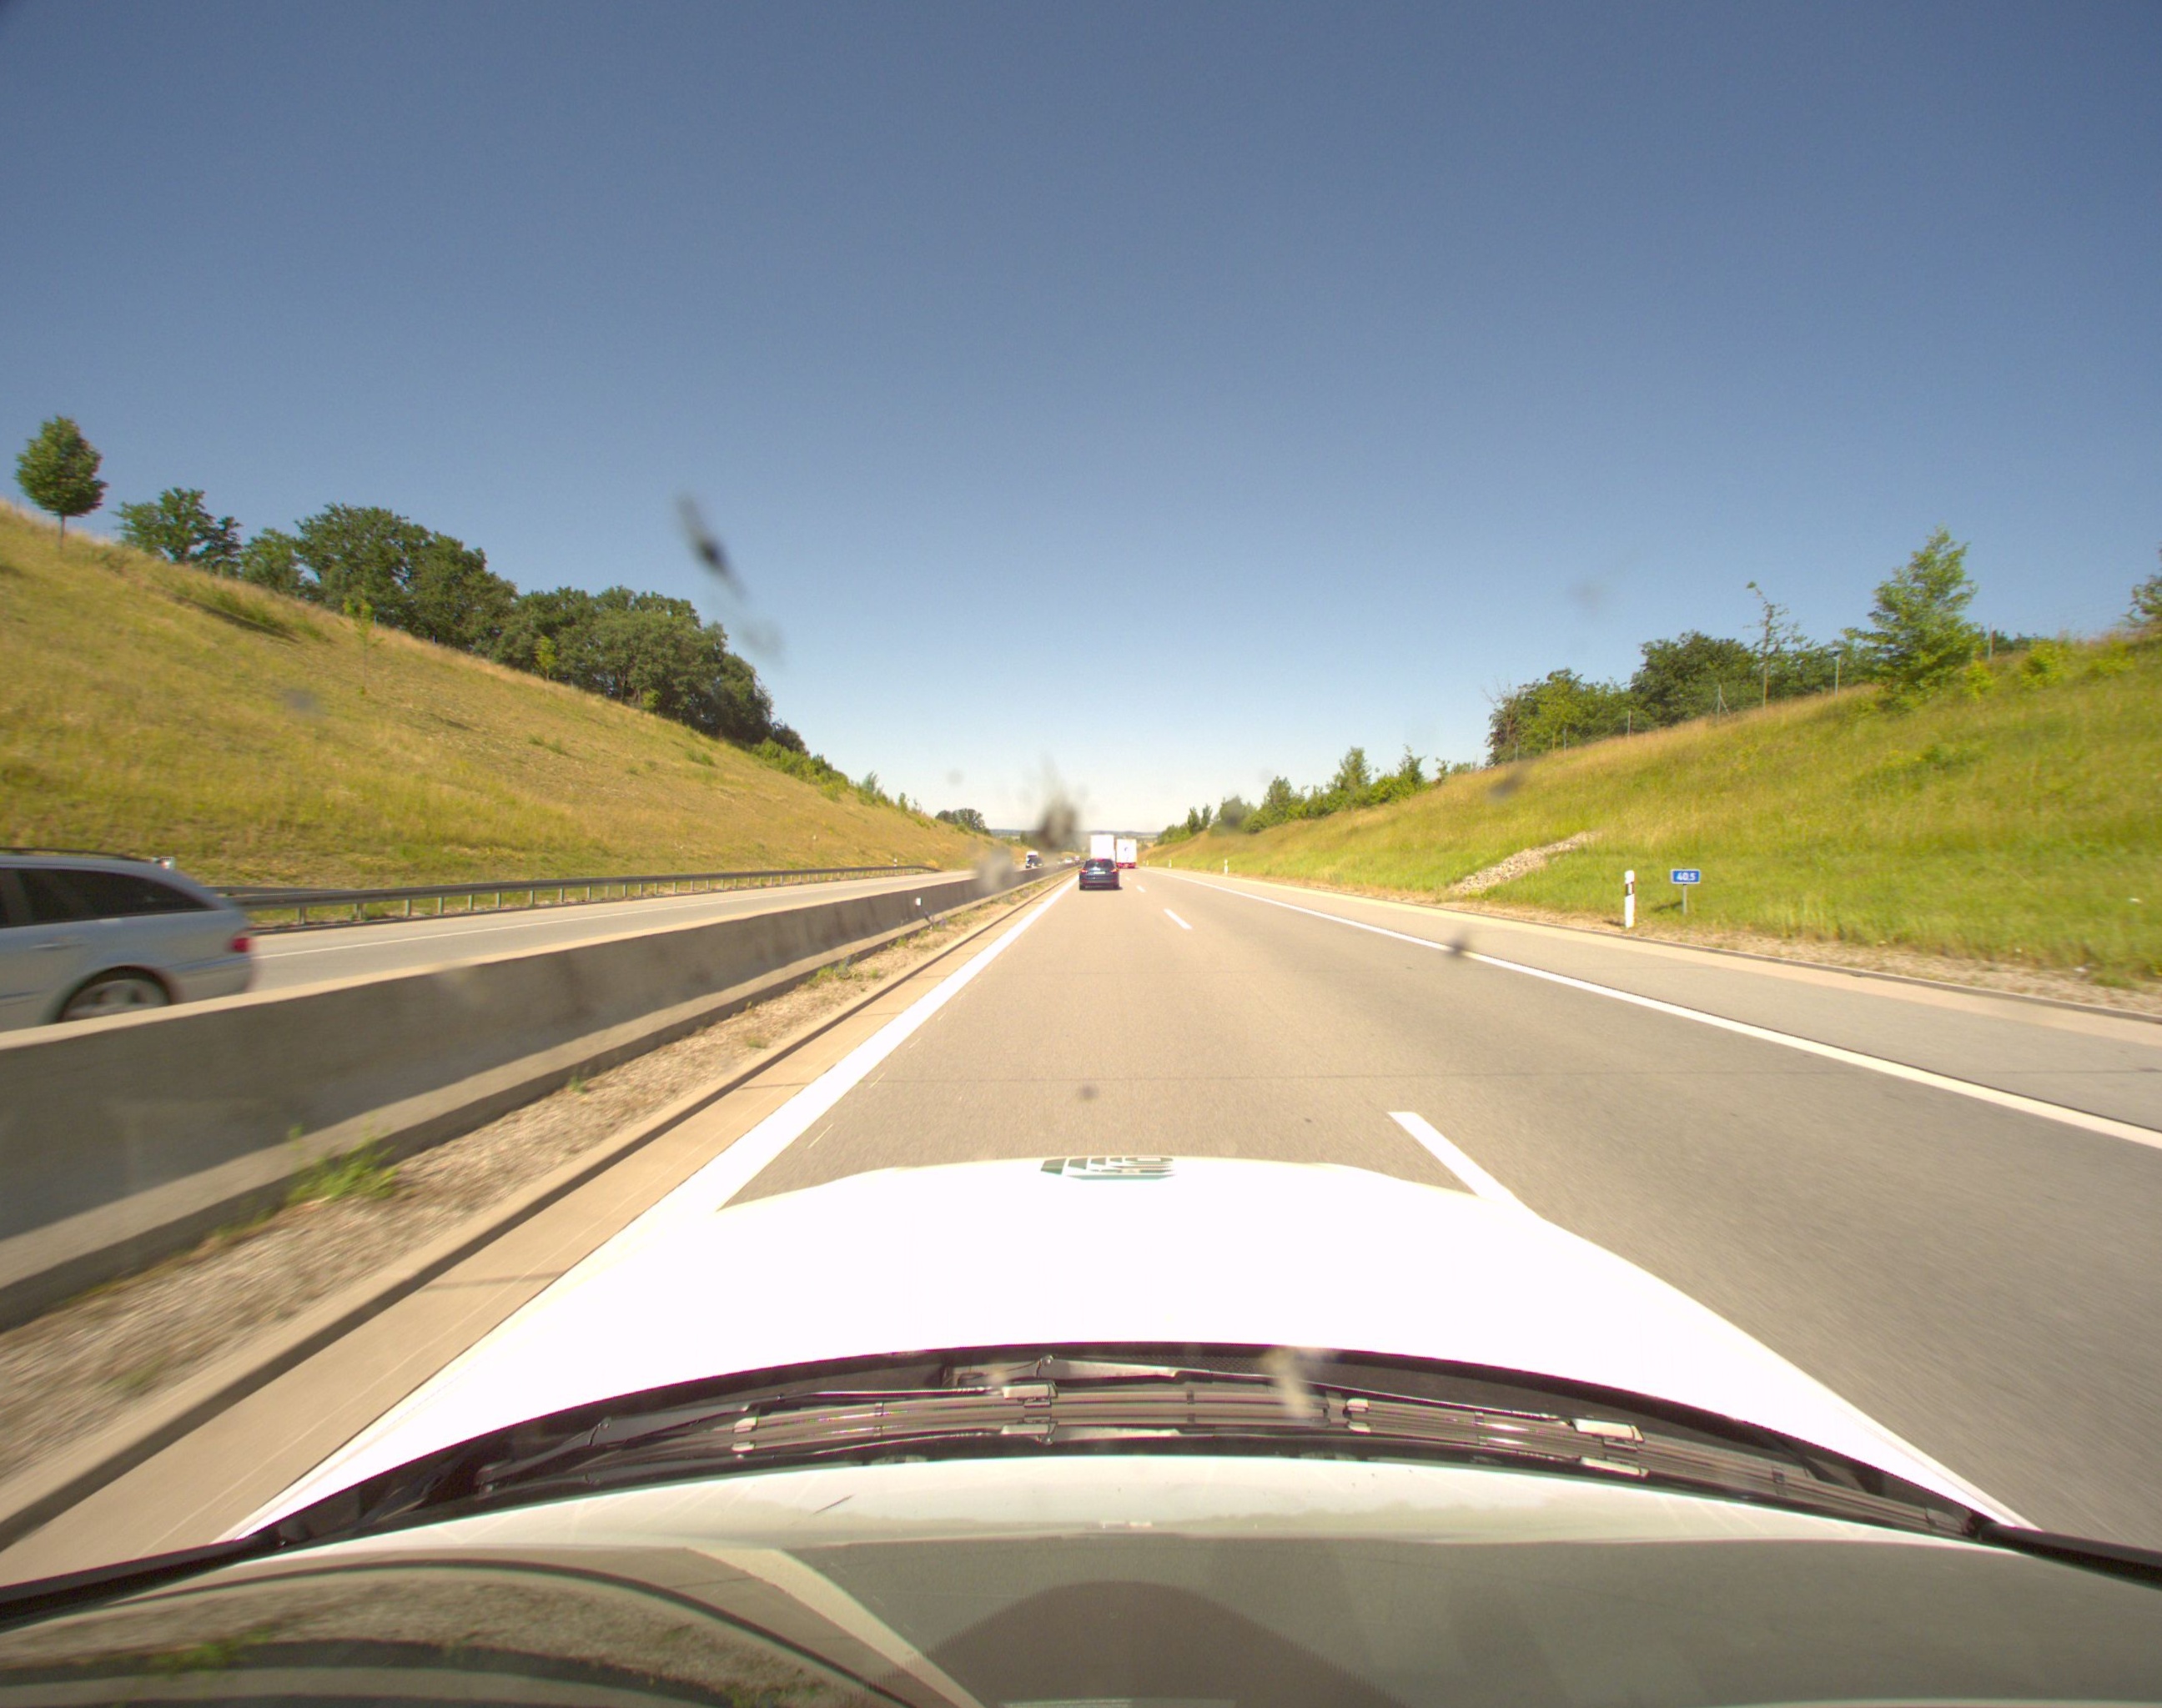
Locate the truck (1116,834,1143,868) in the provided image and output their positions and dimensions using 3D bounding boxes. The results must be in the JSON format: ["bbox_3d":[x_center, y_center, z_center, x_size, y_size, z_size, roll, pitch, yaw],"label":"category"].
[{"bbox_3d":[6.780,-0.359,113.190,3.588,4.381,11.244,0,0,4],"label":"truck"}]

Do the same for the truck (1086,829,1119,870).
[{"bbox_3d":[2.569,-0.501,93.498,3.196,4.381,11.245,0,0,4],"label":"truck"}]

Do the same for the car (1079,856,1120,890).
[{"bbox_3d":[0.795,0.811,37.177,1.771,1.441,3.788,-1,0,0],"label":"car"}]

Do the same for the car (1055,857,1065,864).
[{"bbox_3d":[-4.033,1.231,159.210,1.847,1.461,4.333,0,0,1],"label":"car"}]

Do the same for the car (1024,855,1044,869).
[{"bbox_3d":[-5.090,0.841,88.490,1.847,1.461,4.769,0,0,1],"label":"car"}]

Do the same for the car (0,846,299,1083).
[{"bbox_3d":[-7.575,0.682,4.527,1.847,1.461,4.728,0,0,1],"label":"car"}]

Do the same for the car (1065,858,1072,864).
[{"bbox_3d":[-3.377,2.015,223.038,1.769,1.601,4.039,0,0,1],"label":"car"}]
